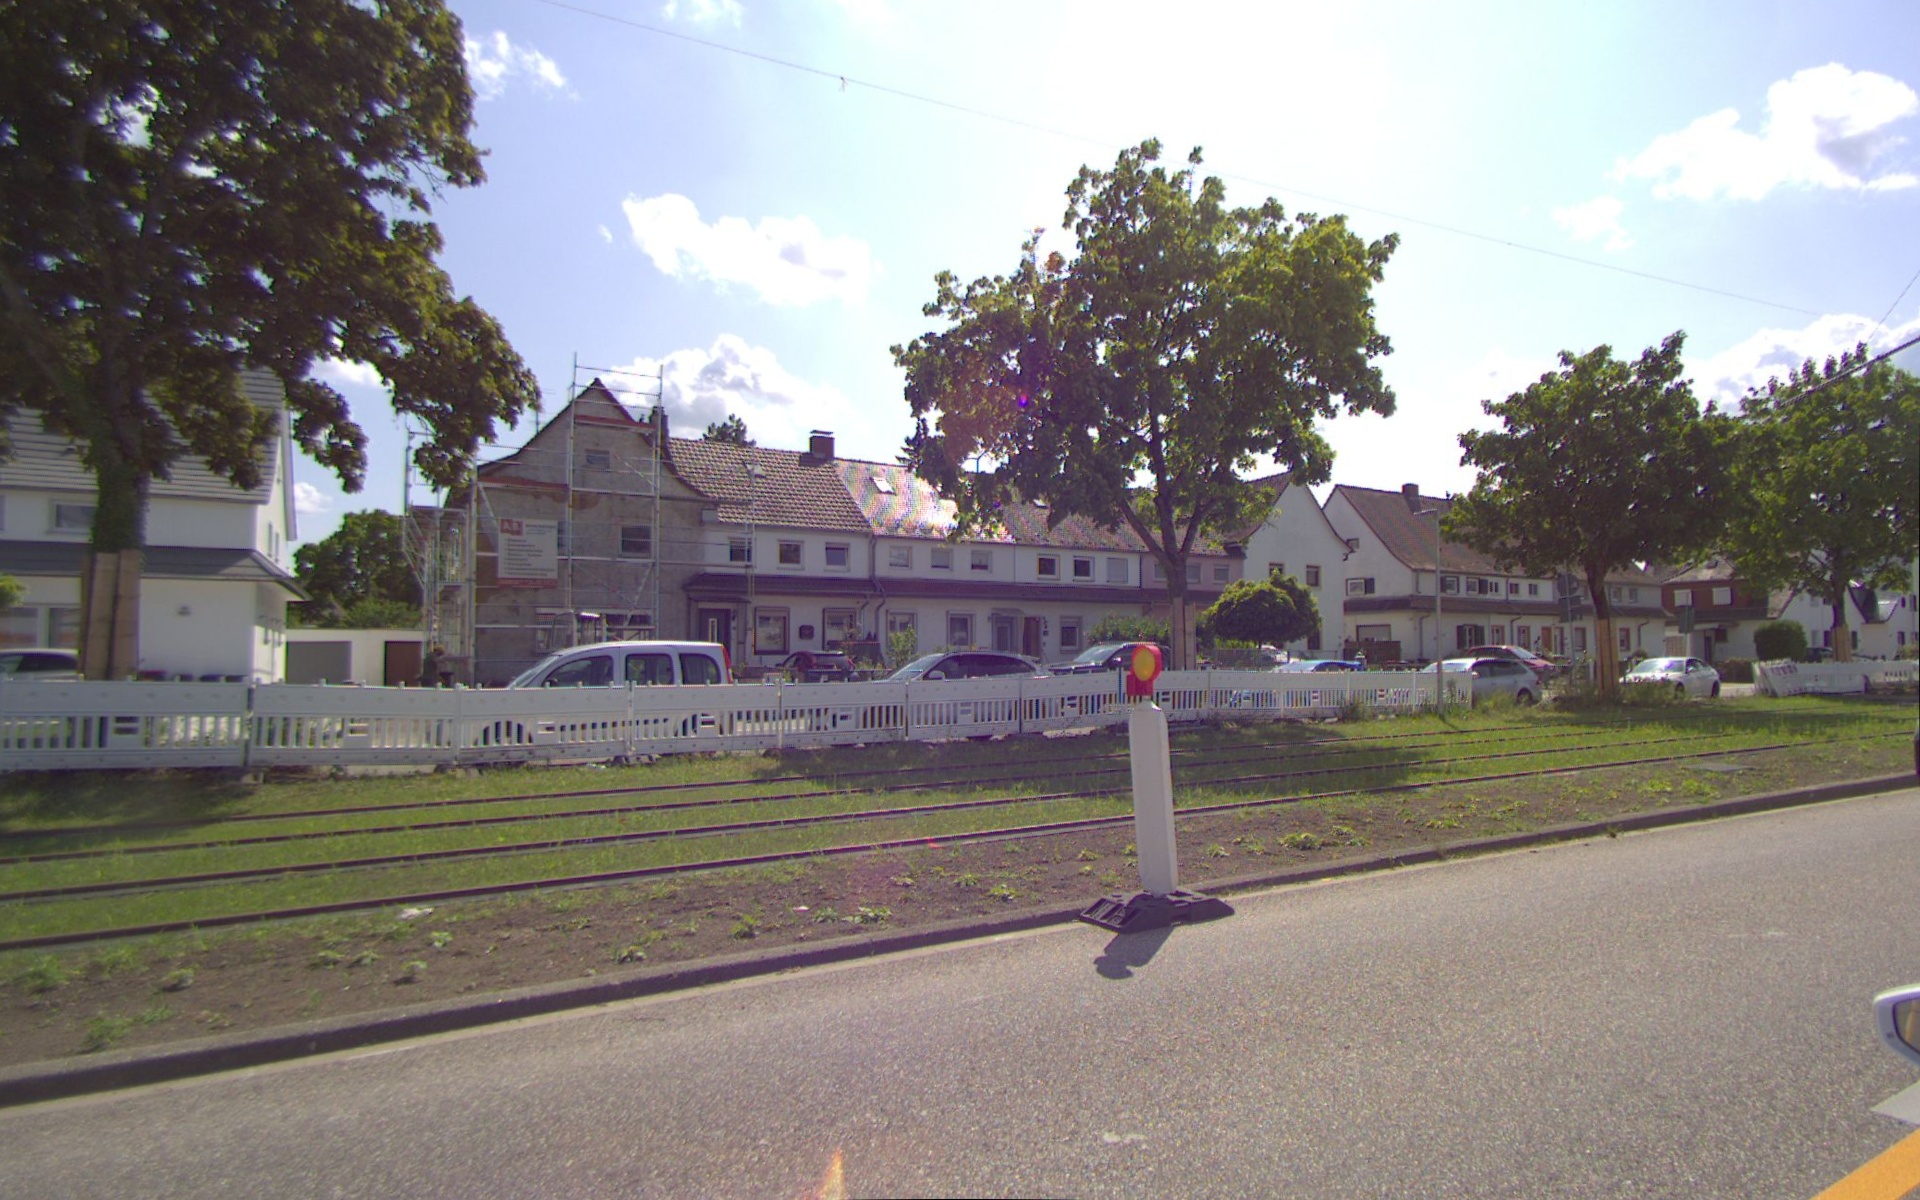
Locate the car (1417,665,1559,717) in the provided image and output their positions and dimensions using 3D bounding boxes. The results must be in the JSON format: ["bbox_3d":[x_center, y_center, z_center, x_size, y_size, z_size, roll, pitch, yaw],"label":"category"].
[{"bbox_3d":[13.535,2.290,25.713,3.704,1.192,1.496,1,-4,-30],"label":"car"}]

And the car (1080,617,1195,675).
[{"bbox_3d":[6.670,1.727,37.694,3.954,2.040,1.984,2,-2,-31],"label":"car"}]

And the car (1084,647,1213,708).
[{"bbox_3d":[5.039,2.031,26.805,3.272,1.514,1.377,1,-3,-31],"label":"car"}]

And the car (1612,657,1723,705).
[{"bbox_3d":[22.373,2.536,31.701,4.211,1.394,1.531,2,-5,-36],"label":"car"}]

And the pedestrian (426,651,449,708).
[{"bbox_3d":[-13.083,1.992,25.134,0.465,1.394,0.420,2,-2,-30],"label":"pedestrian"}]

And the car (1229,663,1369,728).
[{"bbox_3d":[7.723,2.126,22.828,3.136,1.342,1.333,2,-4,-33],"label":"car"}]

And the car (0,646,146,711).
[{"bbox_3d":[-19.404,1.599,20.504,4.072,1.291,1.527,2,-5,-30],"label":"car"}]

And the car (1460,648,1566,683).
[{"bbox_3d":[25.471,3.029,46.425,1.706,1.529,3.968,1,-4,-30],"label":"car"}]

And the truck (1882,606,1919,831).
[{"bbox_3d":[10.840,1.059,9.376,5.057,1.933,1.812,3,-6,-31],"label":"truck"}]

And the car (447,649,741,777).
[{"bbox_3d":[-5.352,1.593,14.818,3.853,1.672,1.615,2,-5,-30],"label":"car"}]

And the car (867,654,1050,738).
[{"bbox_3d":[-0.015,1.699,18.168,3.078,1.395,1.344,2,-5,-30],"label":"car"}]

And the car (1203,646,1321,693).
[{"bbox_3d":[12.216,2.772,40.835,1.784,1.708,4.371,2,-2,-39],"label":"car"}]
